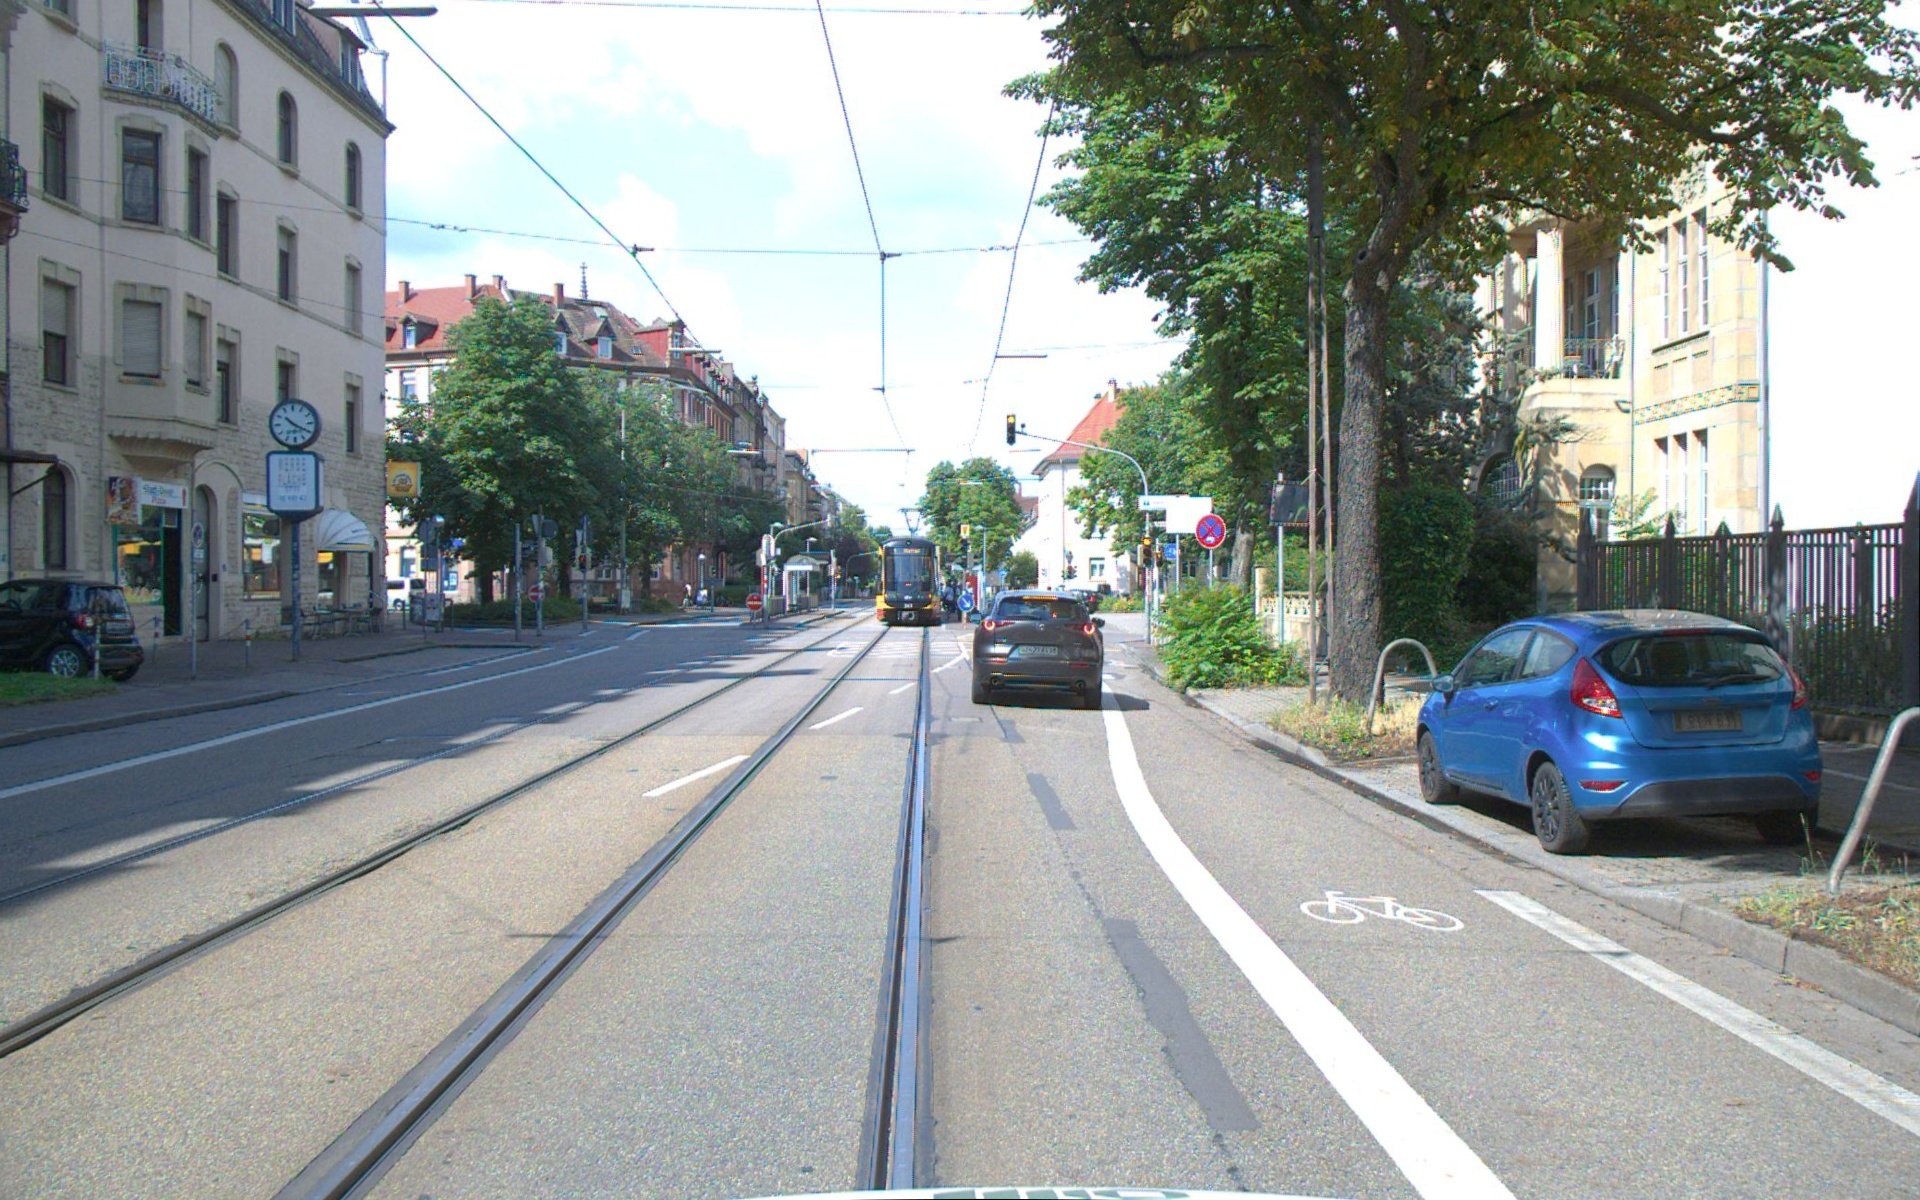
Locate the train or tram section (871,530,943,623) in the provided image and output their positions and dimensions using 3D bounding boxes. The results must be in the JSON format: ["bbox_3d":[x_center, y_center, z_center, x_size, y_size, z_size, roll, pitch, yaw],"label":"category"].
[{"bbox_3d":[-2.295,-0.913,68.425,2.600,3.589,8.489,-1,0,-4],"label":"train or tram section"}]

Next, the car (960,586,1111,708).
[{"bbox_3d":[0.978,0.591,23.578,1.753,1.538,4.349,1,1,-2],"label":"car"}]

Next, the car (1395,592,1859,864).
[{"bbox_3d":[4.417,0.741,11.607,1.591,1.522,3.847,-2,0,-1],"label":"car"}]

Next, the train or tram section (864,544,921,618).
[{"bbox_3d":[-3.546,-0.916,85.386,2.600,3.589,8.489,-1,0,-4],"label":"train or tram section"}]

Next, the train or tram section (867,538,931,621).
[{"bbox_3d":[-2.925,-0.907,76.916,2.600,3.589,8.489,-1,0,-4],"label":"train or tram section"}]

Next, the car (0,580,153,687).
[{"bbox_3d":[-14.425,0.476,25.404,3.169,1.539,1.679,2,0,2],"label":"car"}]

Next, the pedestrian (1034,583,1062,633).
[{"bbox_3d":[2.871,0.254,53.869,0.857,1.633,0.631,0,0,-1],"label":"pedestrian"}]

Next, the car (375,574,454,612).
[{"bbox_3d":[-33.418,-0.430,101.445,4.032,2.048,2.002,-3,0,8],"label":"car"}]

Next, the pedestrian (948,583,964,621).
[{"bbox_3d":[-0.183,0.074,71.041,0.654,1.633,0.699,0,0,-3],"label":"pedestrian"}]
